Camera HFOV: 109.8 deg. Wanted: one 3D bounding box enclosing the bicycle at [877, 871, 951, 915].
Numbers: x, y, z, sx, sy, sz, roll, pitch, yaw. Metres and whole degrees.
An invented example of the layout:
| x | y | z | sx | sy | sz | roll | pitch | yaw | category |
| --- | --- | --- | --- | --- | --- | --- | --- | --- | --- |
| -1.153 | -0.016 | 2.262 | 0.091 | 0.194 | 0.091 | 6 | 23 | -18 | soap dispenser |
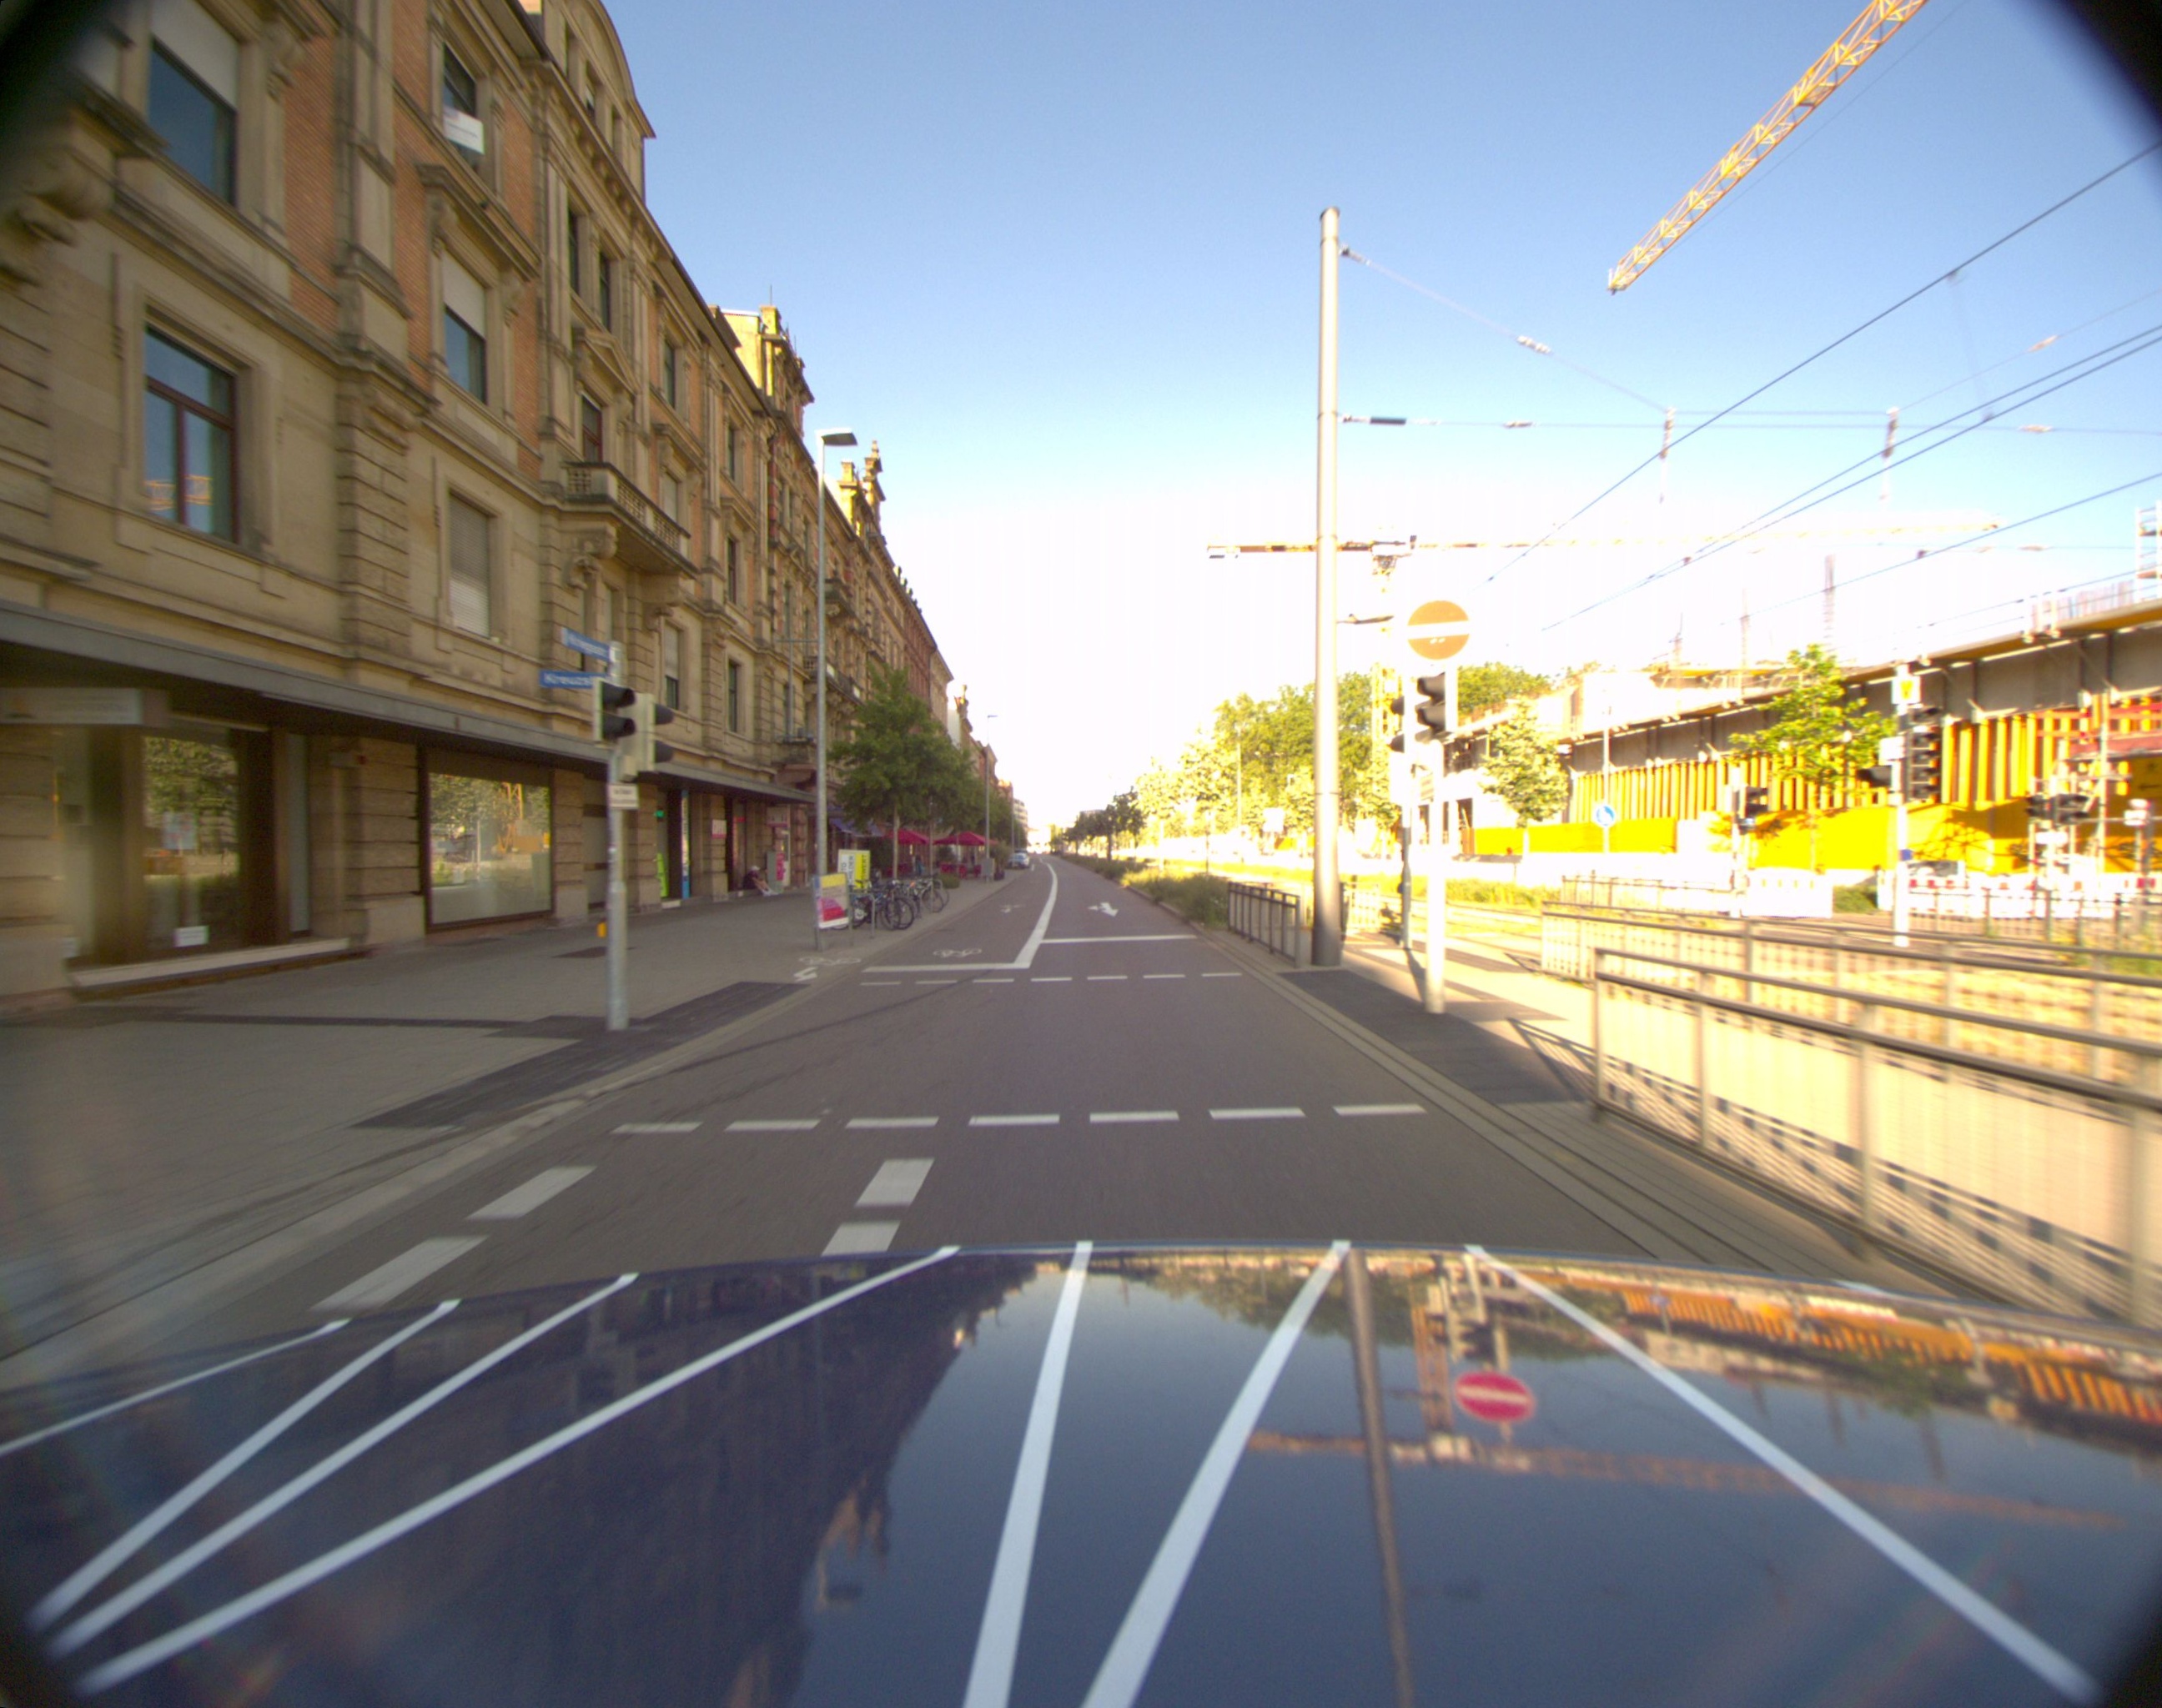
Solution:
| x | y | z | sx | sy | sz | roll | pitch | yaw | category |
| --- | --- | --- | --- | --- | --- | --- | --- | --- | --- |
| -4.502 | 1.048 | 20.517 | 1.848 | 1.098 | 0.566 | 2 | 1 | 3 | bicycle |

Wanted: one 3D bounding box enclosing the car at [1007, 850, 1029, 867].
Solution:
| x | y | z | sx | sy | sz | roll | pitch | yaw | category |
| --- | --- | --- | --- | --- | --- | --- | --- | --- | --- |
| -6.046 | 0.430 | 73.582 | 1.854 | 1.555 | 4.295 | 1 | 1 | -2 | car |

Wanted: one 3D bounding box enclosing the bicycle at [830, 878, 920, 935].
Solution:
| x | y | z | sx | sy | sz | roll | pitch | yaw | category |
| --- | --- | --- | --- | --- | --- | --- | --- | --- | --- |
| -4.364 | 1.109 | 16.142 | 1.757 | 1.098 | 0.507 | 2 | 1 | 3 | bicycle |

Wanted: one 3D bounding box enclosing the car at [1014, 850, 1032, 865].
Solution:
| x | y | z | sx | sy | sz | roll | pitch | yaw | category |
| --- | --- | --- | --- | --- | --- | --- | --- | --- | --- |
| -6.077 | 0.299 | 80.107 | 1.854 | 1.445 | 5.250 | 1 | 1 | -4 | car |

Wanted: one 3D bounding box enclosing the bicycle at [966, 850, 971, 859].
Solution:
| x | y | z | sx | sy | sz | roll | pitch | yaw | category |
| --- | --- | --- | --- | --- | --- | --- | --- | --- | --- |
| -13.239 | 0.086 | 89.744 | 0.344 | 1.027 | 2.071 | -1 | 1 | -3 | bicycle |

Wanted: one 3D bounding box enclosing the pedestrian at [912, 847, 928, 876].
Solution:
| x | y | z | sx | sy | sz | roll | pitch | yaw | category |
| --- | --- | --- | --- | --- | --- | --- | --- | --- | --- |
| -8.925 | 0.404 | 42.069 | 0.730 | 1.525 | 0.796 | 1 | 1 | -3 | pedestrian |

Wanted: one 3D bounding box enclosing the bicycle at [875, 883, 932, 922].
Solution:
| x | y | z | sx | sy | sz | roll | pitch | yaw | category |
| --- | --- | --- | --- | --- | --- | --- | --- | --- | --- |
| -4.403 | 1.198 | 18.871 | 1.277 | 0.872 | 0.507 | 2 | 1 | 3 | bicycle |

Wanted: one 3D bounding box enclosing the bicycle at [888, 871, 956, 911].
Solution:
| x | y | z | sx | sy | sz | roll | pitch | yaw | category |
| --- | --- | --- | --- | --- | --- | --- | --- | --- | --- |
| -4.588 | 1.070 | 22.026 | 1.809 | 1.041 | 0.566 | 2 | 1 | 3 | bicycle |

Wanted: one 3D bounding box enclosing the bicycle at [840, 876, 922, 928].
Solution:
| x | y | z | sx | sy | sz | roll | pitch | yaw | category |
| --- | --- | --- | --- | --- | --- | --- | --- | --- | --- |
| -4.571 | 1.088 | 17.419 | 1.725 | 1.098 | 0.507 | 2 | 1 | 3 | bicycle |

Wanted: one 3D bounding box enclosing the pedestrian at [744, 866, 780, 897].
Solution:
| x | y | z | sx | sy | sz | roll | pitch | yaw | category |
| --- | --- | --- | --- | --- | --- | --- | --- | --- | --- |
| -10.353 | 0.896 | 24.701 | 0.815 | 0.957 | 0.804 | 0 | 1 | 0 | pedestrian |

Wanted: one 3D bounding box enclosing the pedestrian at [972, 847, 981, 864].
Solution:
| x | y | z | sx | sy | sz | roll | pitch | yaw | category |
| --- | --- | --- | --- | --- | --- | --- | --- | --- | --- |
| -10.699 | 0.127 | 77.620 | 0.749 | 1.745 | 1.071 | 1 | 1 | -2 | pedestrian |

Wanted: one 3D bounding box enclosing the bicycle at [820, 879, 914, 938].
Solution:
| x | y | z | sx | sy | sz | roll | pitch | yaw | category |
| --- | --- | --- | --- | --- | --- | --- | --- | --- | --- |
| -4.368 | 1.114 | 15.551 | 1.757 | 1.098 | 0.507 | 2 | 1 | 3 | bicycle |
